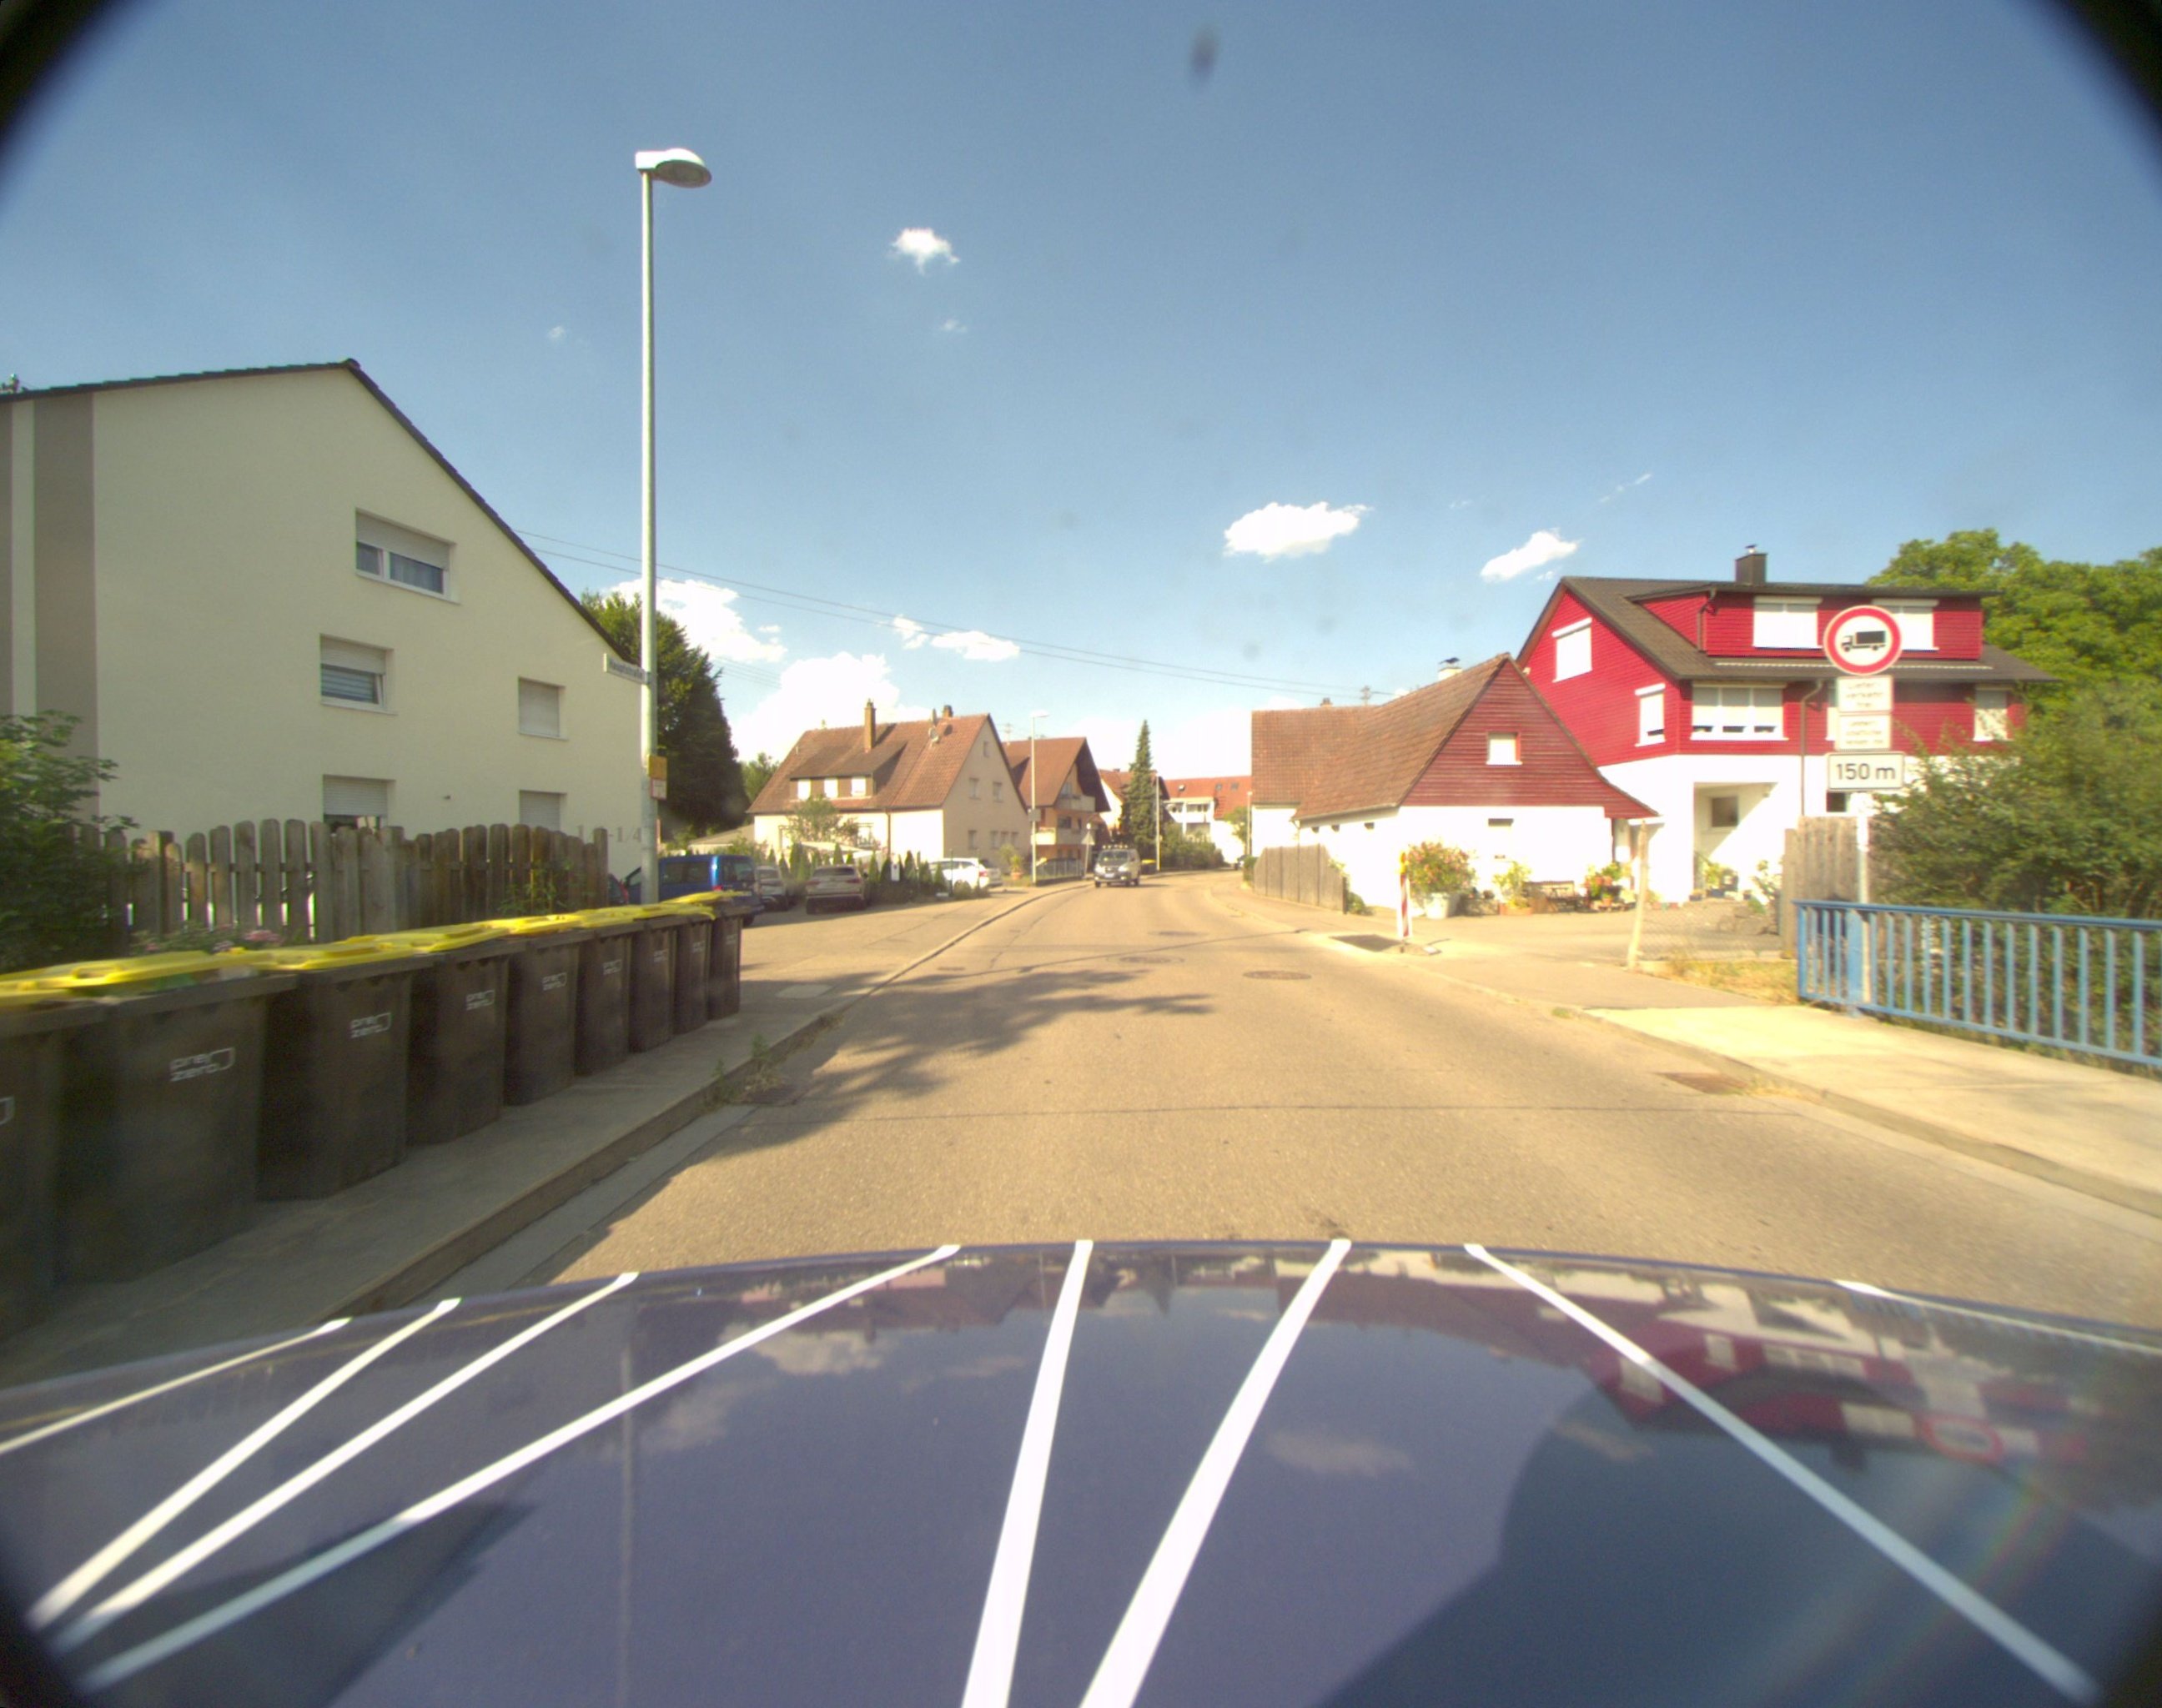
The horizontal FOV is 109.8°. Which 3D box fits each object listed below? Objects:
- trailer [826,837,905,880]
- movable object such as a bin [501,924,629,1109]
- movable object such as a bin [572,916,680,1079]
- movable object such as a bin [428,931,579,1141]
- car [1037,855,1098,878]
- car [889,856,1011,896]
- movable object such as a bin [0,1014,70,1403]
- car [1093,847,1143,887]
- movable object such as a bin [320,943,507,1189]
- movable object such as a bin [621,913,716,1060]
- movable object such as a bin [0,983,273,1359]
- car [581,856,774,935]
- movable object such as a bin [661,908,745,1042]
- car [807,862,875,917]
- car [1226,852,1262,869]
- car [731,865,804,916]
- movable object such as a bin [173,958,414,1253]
[{"bbox_3d":[-9.151,0.174,32.463,1.521,1.742,3.222,0,0,23],"label":"trailer"},{"bbox_3d":[-3.473,1.072,5.148,0.480,1.136,0.538,0,1,0],"label":"movable object such as a bin"},{"bbox_3d":[-3.459,1.068,5.805,0.480,1.136,0.542,0,1,0],"label":"movable object such as a bin"},{"bbox_3d":[-3.458,1.062,4.585,0.480,1.136,0.538,0,1,0],"label":"movable object such as a bin"},{"bbox_3d":[-0.865,0.789,49.235,3.690,1.426,1.439,-1,0,27],"label":"car"},{"bbox_3d":[-5.198,0.860,30.137,4.468,1.450,1.733,-1,1,20],"label":"car"},{"bbox_3d":[-3.487,1.081,2.144,0.480,1.136,0.564,0,1,0],"label":"movable object such as a bin"},{"bbox_3d":[2.039,0.651,40.363,1.818,1.988,4.826,0,0,13],"label":"car"},{"bbox_3d":[-3.466,1.070,3.985,0.480,1.136,0.538,0,1,0],"label":"movable object such as a bin"},{"bbox_3d":[-3.439,1.085,6.365,0.480,1.136,0.538,0,1,0],"label":"movable object such as a bin"},{"bbox_3d":[-3.461,1.081,2.746,0.480,1.136,0.538,0,1,0],"label":"movable object such as a bin"},{"bbox_3d":[-10.041,0.986,18.949,4.205,1.777,1.769,-1,1,18],"label":"car"},{"bbox_3d":[-3.431,1.078,6.923,0.480,1.136,0.538,0,1,0],"label":"movable object such as a bin"},{"bbox_3d":[-8.017,1.126,25.681,1.700,1.510,4.271,-4,1,-12],"label":"car"},{"bbox_3d":[16.741,0.654,78.071,1.968,1.647,4.008,2,2,38],"label":"car"},{"bbox_3d":[-11.061,1.229,27.018,1.766,1.536,3.672,-2,1,-13],"label":"car"},{"bbox_3d":[-3.452,1.067,3.374,0.480,1.136,0.538,0,1,0],"label":"movable object such as a bin"}]
